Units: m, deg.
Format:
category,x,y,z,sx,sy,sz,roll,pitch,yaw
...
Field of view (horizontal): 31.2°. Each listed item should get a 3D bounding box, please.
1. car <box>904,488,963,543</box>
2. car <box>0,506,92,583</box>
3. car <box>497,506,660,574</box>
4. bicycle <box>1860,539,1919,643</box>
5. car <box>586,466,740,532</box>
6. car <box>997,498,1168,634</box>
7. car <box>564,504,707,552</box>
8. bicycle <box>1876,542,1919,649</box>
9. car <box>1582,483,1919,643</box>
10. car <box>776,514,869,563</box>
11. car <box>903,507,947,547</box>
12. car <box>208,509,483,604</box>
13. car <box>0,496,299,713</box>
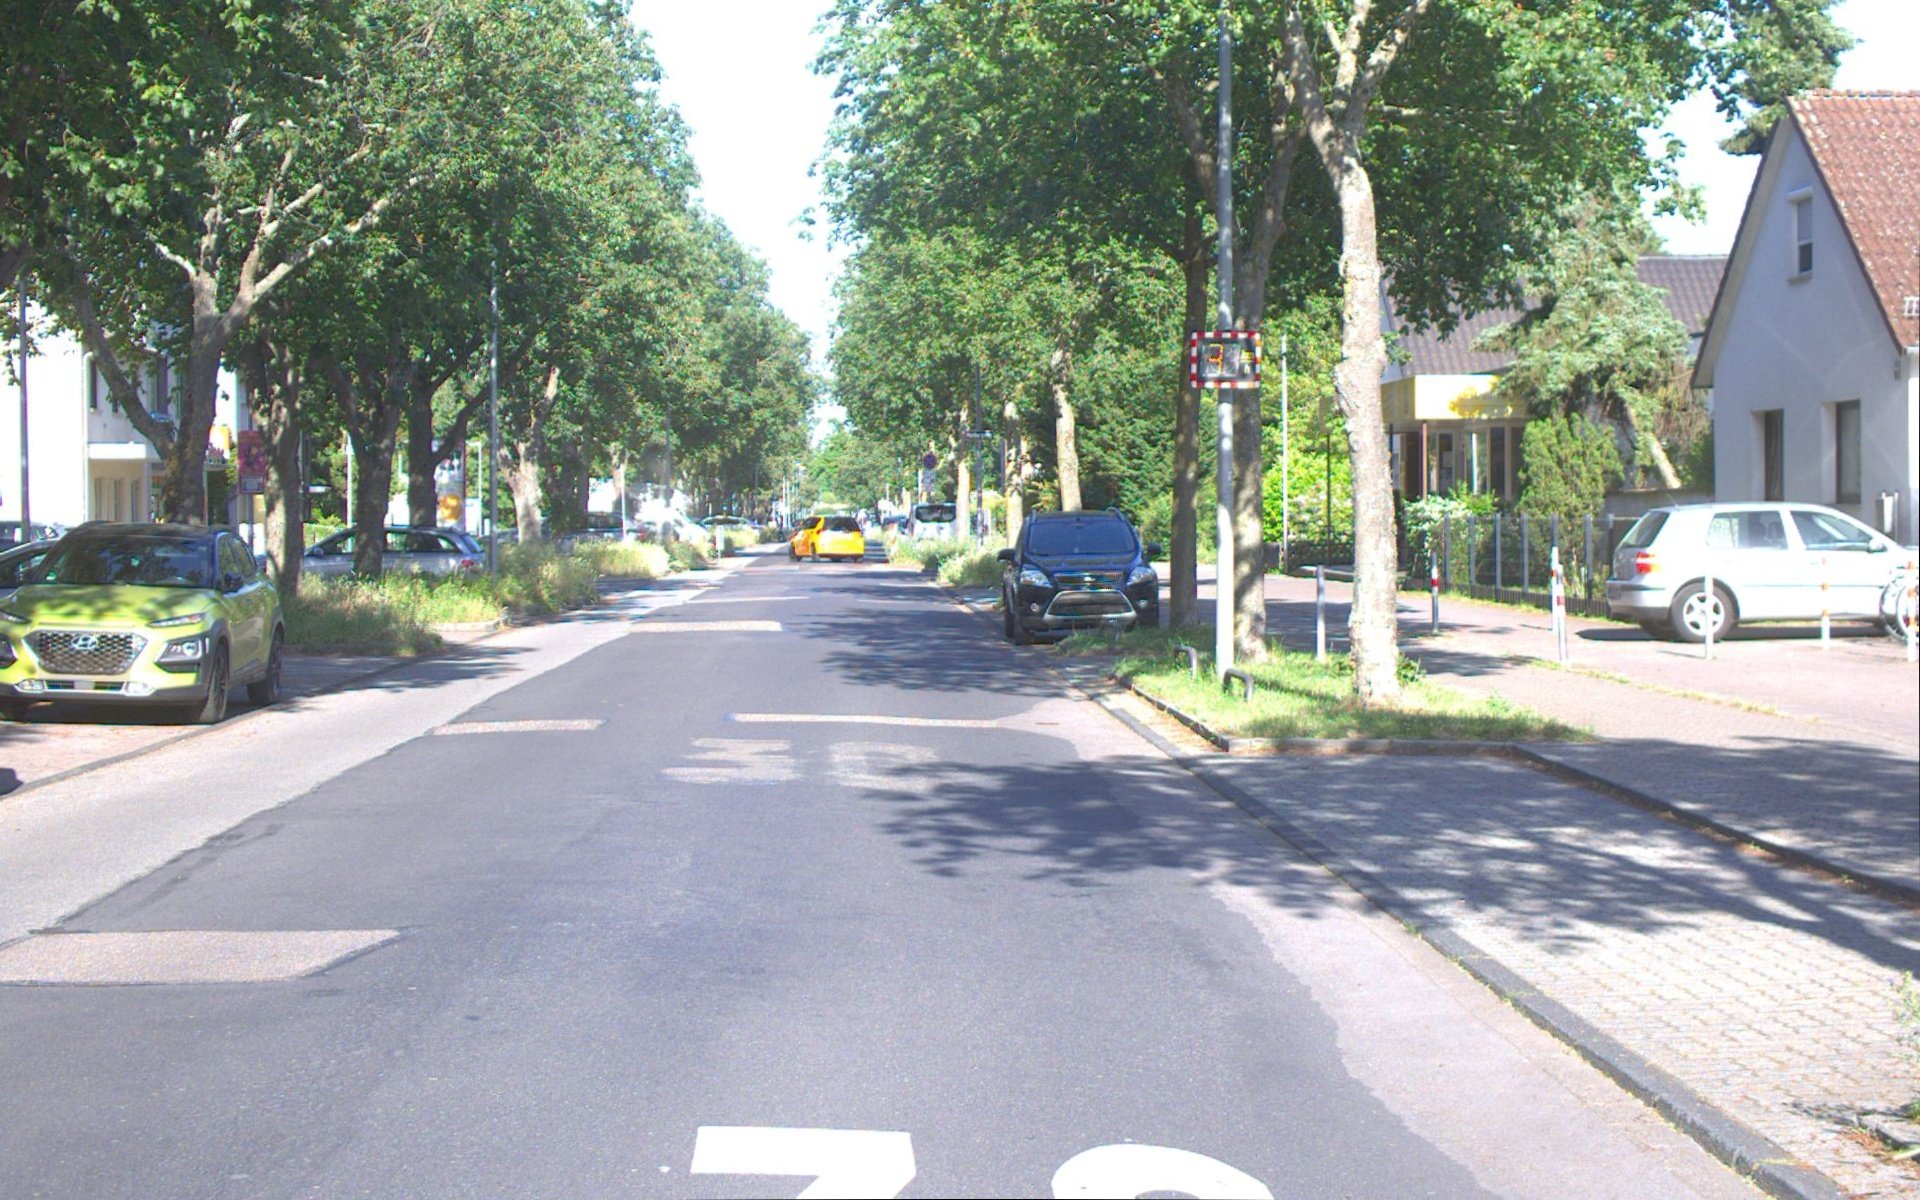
category,x,y,z,sx,sy,sz,roll,pitch,yaw
car,-0.937,-2.880,117.427,1.902,1.768,4.301,1,1,-1
car,-21.947,-1.274,77.028,4.553,1.612,2.001,1,3,-5
car,-10.892,-1.714,98.207,4.545,1.759,2.001,1,3,-6
bicycle,10.038,-0.115,34.340,1.923,0.995,0.576,-2,3,-3
car,-10.867,-3.725,126.152,5.497,2.239,2.517,1,3,-3
car,1.531,-0.457,44.430,1.853,1.620,4.470,-2,1,-2
car,-9.902,-2.199,104.841,4.286,1.310,1.910,1,3,-6
bicycle,9.951,-0.065,33.348,1.957,0.995,0.576,-2,3,-3
car,8.797,-0.418,36.414,3.986,1.483,1.902,-2,3,-3
car,-4.602,-2.060,114.406,1.887,1.474,3.889,2,1,-22
car,-1.586,-3.305,155.796,1.902,1.768,4.301,1,1,-1
car,-10.813,-0.781,60.701,4.554,1.506,1.841,1,3,-2
car,-6.779,0.004,28.107,1.939,1.603,4.384,1,1,-1
